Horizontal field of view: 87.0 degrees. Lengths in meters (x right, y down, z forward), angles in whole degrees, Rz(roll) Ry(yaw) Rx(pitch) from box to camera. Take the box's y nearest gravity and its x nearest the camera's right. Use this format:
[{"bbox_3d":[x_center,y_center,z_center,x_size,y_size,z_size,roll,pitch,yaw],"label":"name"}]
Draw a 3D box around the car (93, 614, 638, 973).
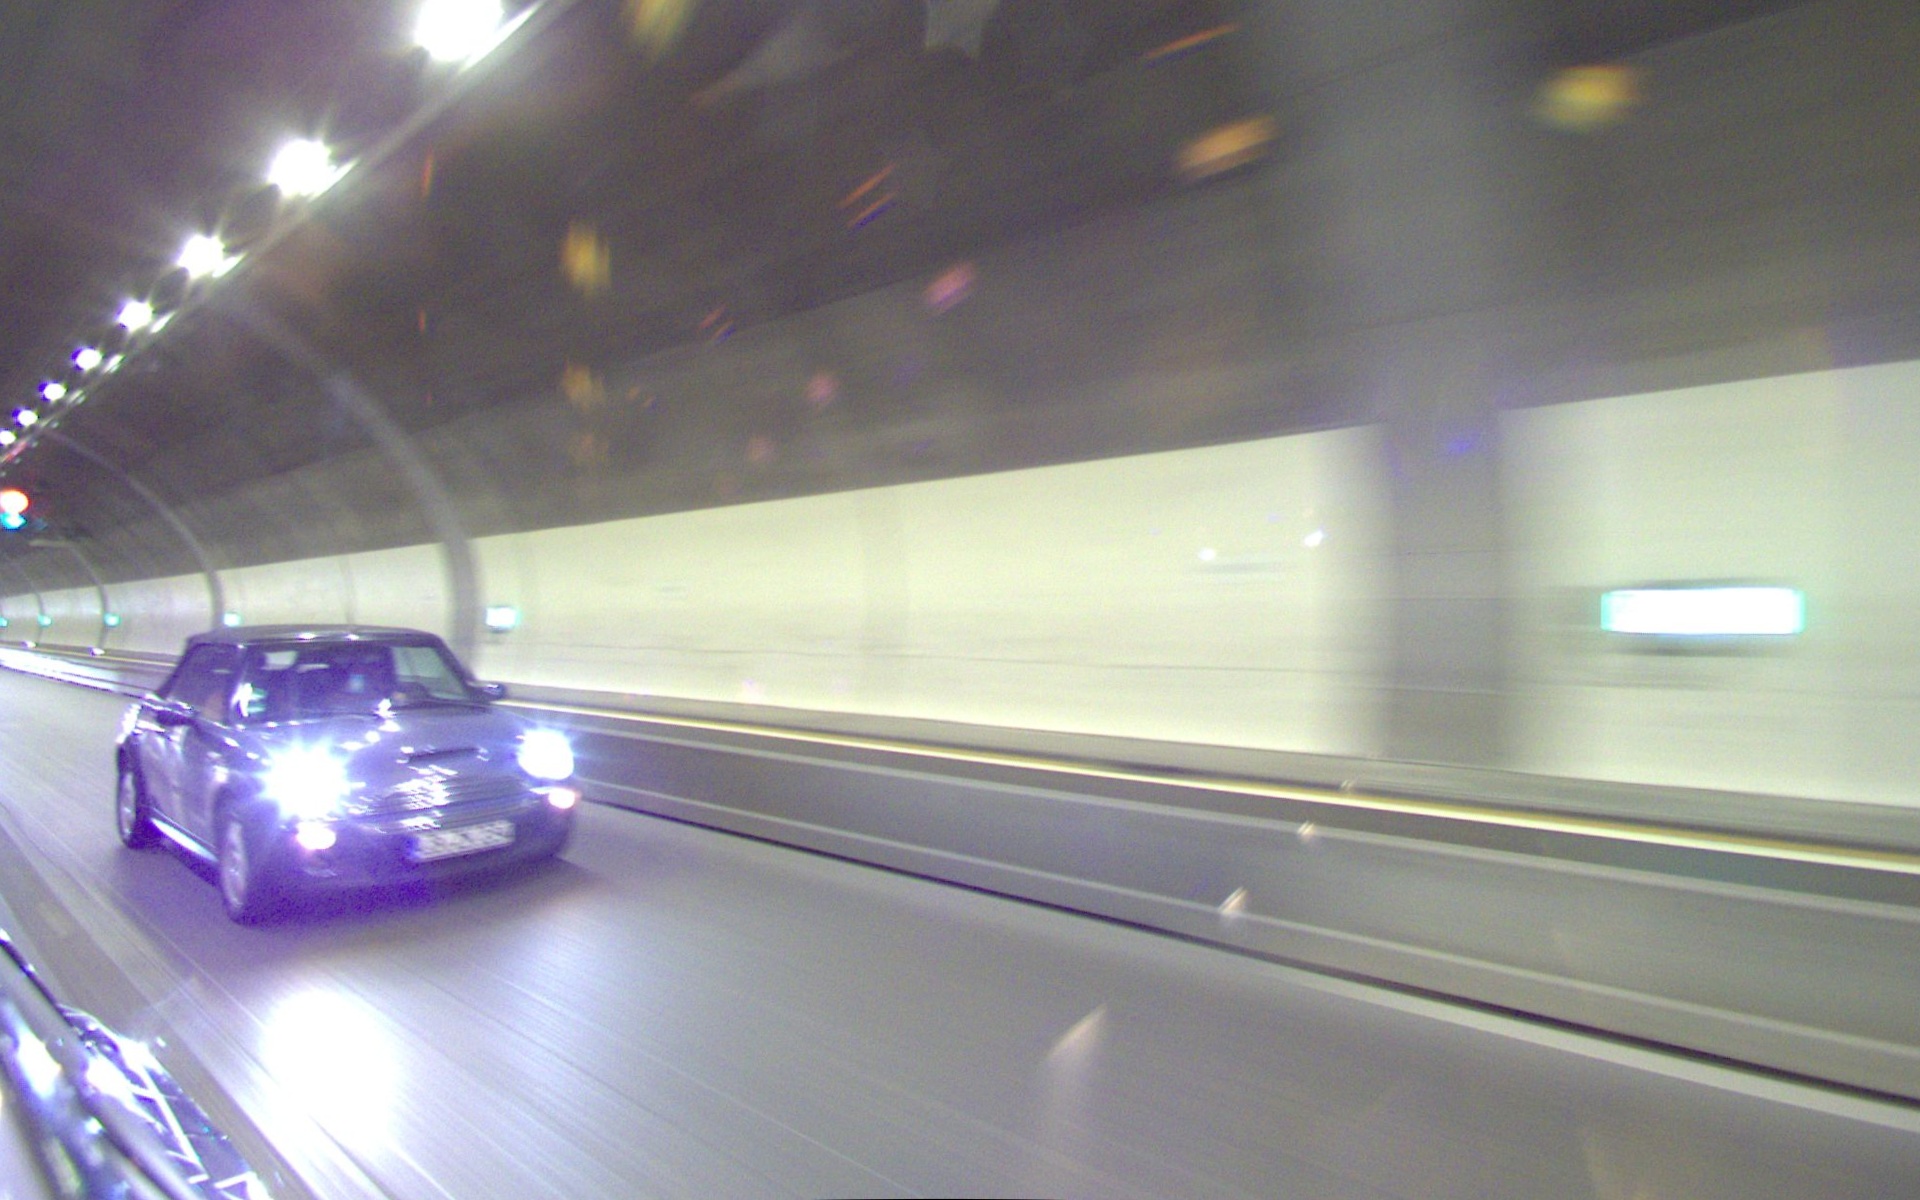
[{"bbox_3d":[-3.729,0.827,6.041,3.921,1.428,1.671,-1,-1,41],"label":"car"}]
